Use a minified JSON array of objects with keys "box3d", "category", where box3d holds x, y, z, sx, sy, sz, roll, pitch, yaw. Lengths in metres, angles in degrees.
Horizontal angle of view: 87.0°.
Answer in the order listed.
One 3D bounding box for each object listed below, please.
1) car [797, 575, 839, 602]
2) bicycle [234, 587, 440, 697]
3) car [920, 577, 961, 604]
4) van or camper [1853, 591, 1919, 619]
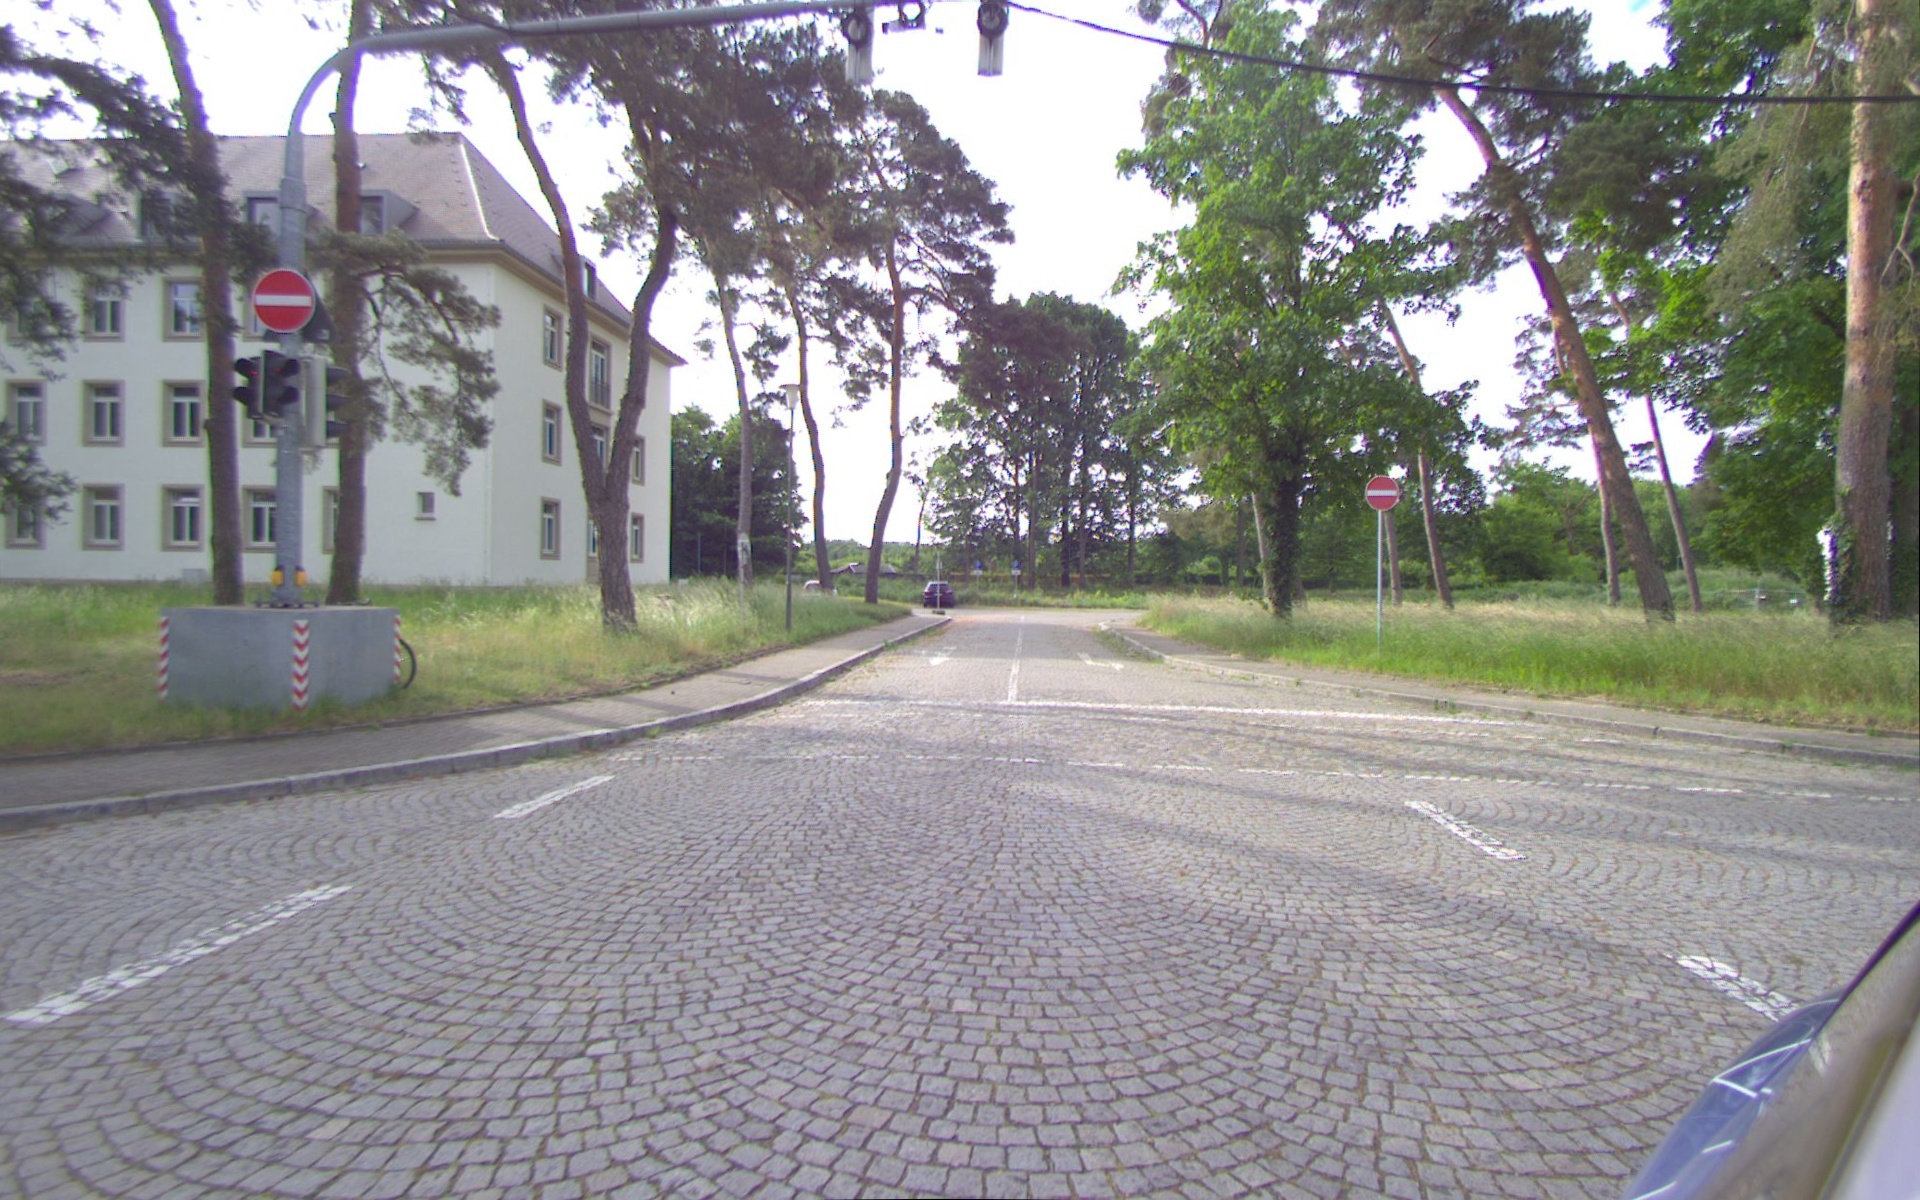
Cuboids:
[{"box3d":[-8.560,-0.707,61.325,1.742,1.552,3.689,1,1,5],"category":"car"},{"box3d":[-6.646,0.436,10.851,1.799,1.075,0.647,1,4,2],"category":"bicycle"},{"box3d":[-1.137,-0.591,59.963,1.965,1.552,3.995,1,1,5],"category":"car"},{"box3d":[84.470,0.419,91.288,2.420,2.335,6.125,1,1,2],"category":"van or camper"}]
